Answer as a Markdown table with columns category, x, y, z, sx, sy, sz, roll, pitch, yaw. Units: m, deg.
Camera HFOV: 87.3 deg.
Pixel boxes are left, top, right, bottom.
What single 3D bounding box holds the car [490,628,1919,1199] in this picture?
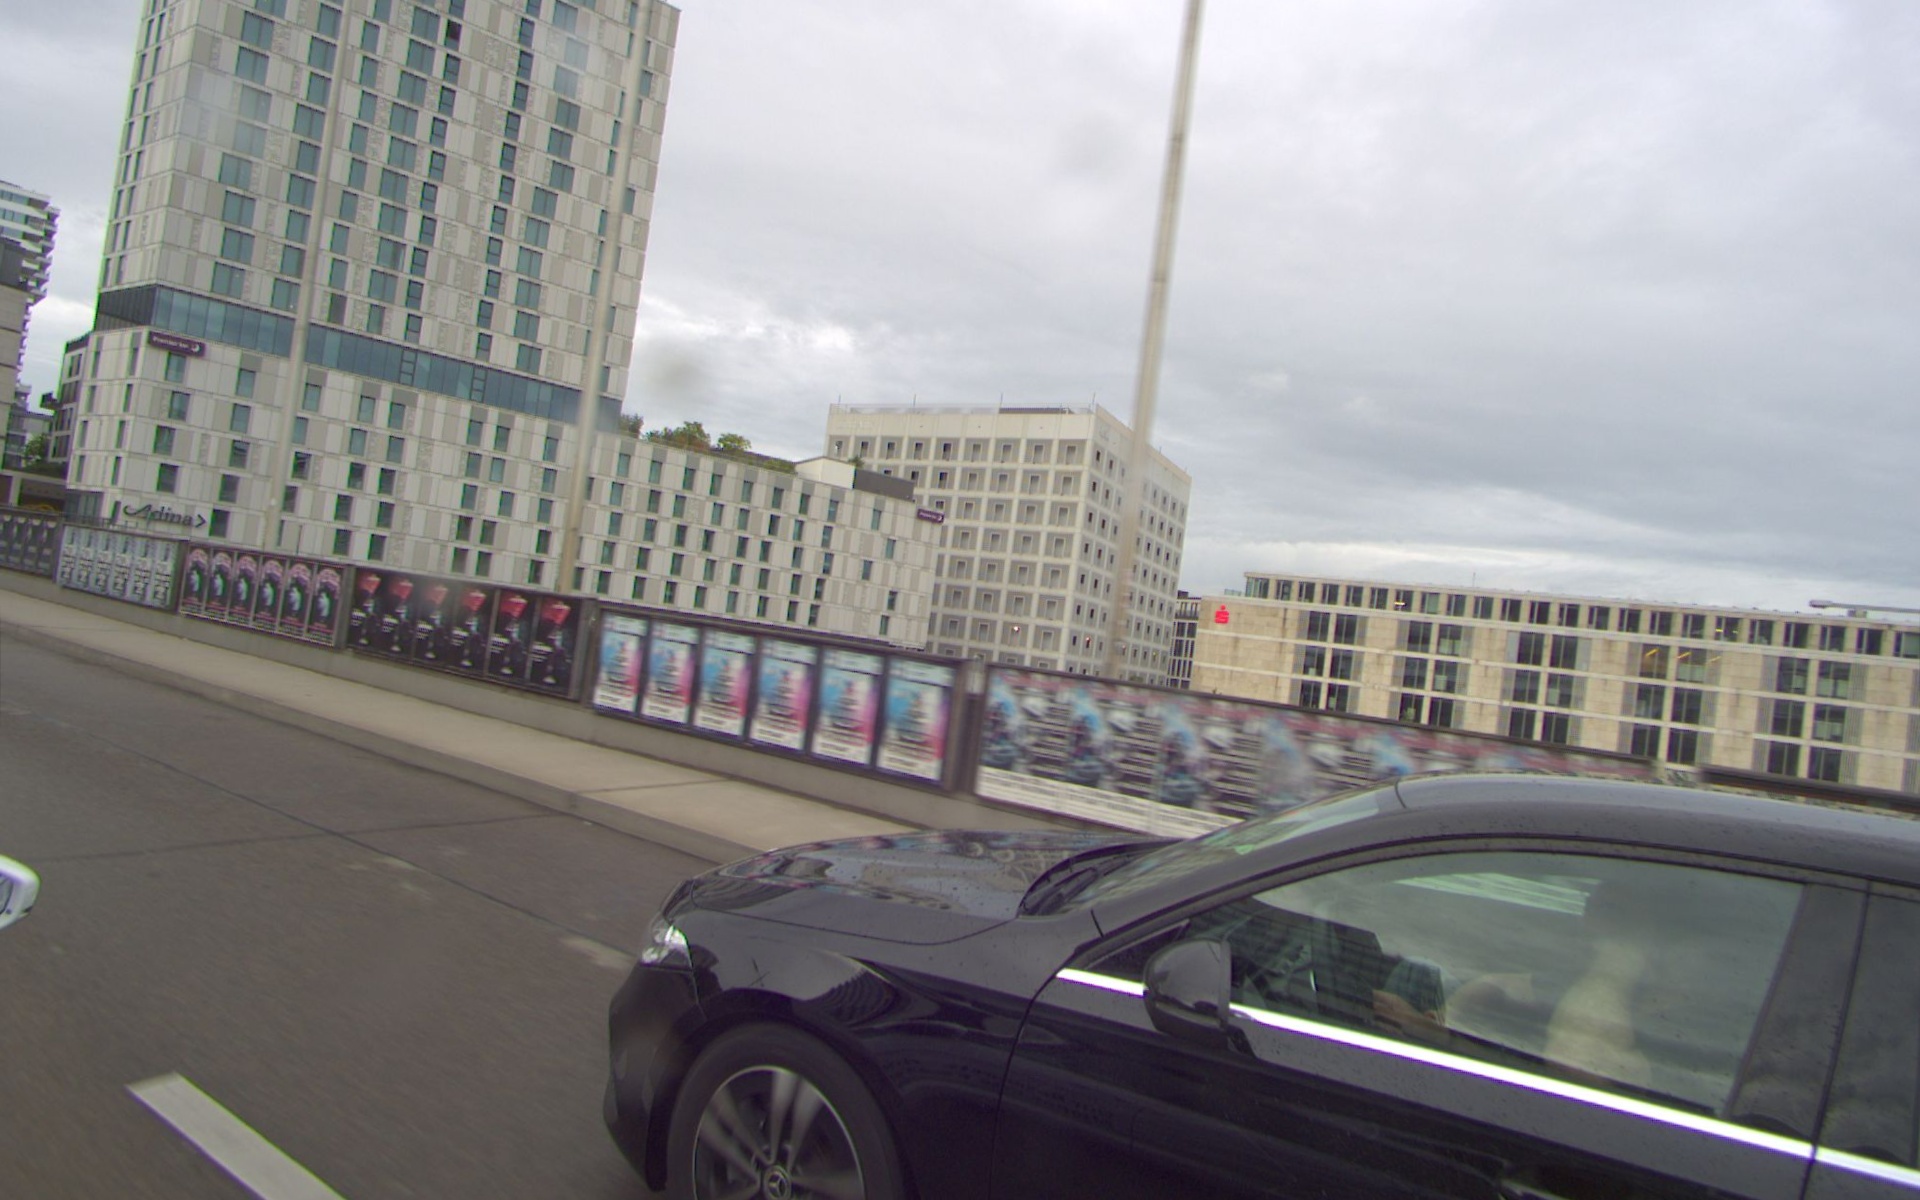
| category | x | y | z | sx | sy | sz | roll | pitch | yaw |
| --- | --- | --- | --- | --- | --- | --- | --- | --- | --- |
| car | 1.160 | 1.017 | 2.109 | 4.084 | 1.392 | 1.727 | 6 | -2 | 29 |
